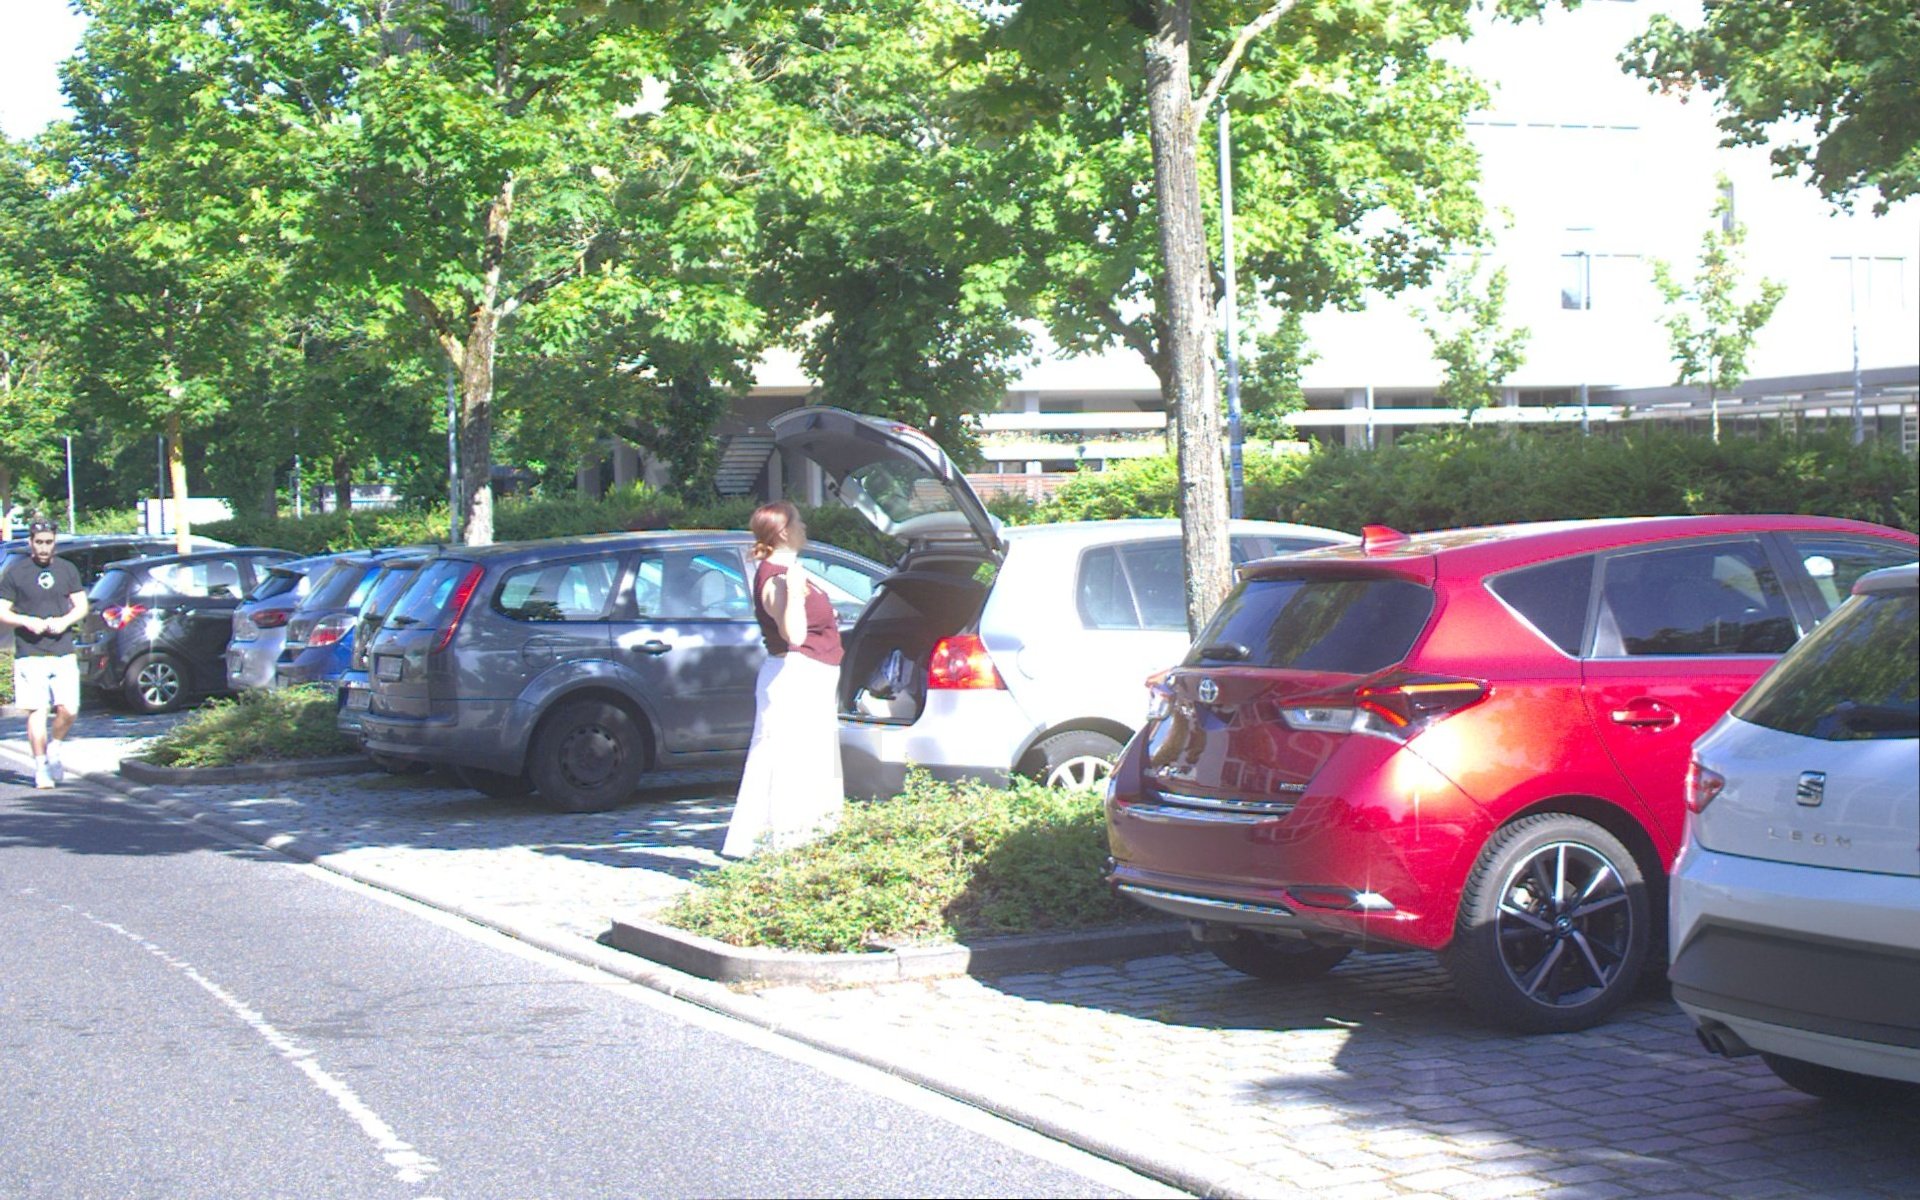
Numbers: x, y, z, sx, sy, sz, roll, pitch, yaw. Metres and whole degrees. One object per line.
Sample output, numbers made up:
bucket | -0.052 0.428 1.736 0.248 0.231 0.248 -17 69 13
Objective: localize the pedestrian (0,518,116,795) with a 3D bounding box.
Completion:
pedestrian | -6.171 0.364 23.029 0.719 1.765 1.169 -4 2 -23

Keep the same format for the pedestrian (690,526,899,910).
pedestrian | -0.692 0.487 14.602 0.764 1.573 0.674 -1 2 6

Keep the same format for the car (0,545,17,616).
car | -22.713 -0.350 74.809 3.986 1.533 1.862 -2 1 -22

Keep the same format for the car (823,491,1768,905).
car | 1.523 0.350 15.525 3.898 1.572 1.680 -2 3 -24

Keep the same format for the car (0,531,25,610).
car | -20.131 -0.512 66.128 3.861 1.499 1.652 -2 2 -24

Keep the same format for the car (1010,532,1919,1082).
car | 2.304 0.530 10.935 3.898 1.421 1.673 -2 1 -24

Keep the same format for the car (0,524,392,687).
car | -8.860 0.031 39.044 4.320 1.602 1.912 -3 2 -26

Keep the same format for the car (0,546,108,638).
car | -16.364 -0.074 57.051 4.061 1.421 1.742 -3 1 -21

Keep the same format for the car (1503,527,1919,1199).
car | 3.492 0.505 8.316 3.899 1.431 1.809 -4 3 -24

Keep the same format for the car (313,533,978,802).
car | -2.007 0.375 22.054 3.898 1.463 1.622 -2 3 -24

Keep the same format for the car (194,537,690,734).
car | -4.322 0.254 28.600 3.732 1.411 1.843 -3 2 -21

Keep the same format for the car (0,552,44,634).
car | -19.055 -0.089 63.471 3.900 1.481 1.743 -2 2 -23

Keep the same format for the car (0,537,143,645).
car | -14.549 -0.128 52.755 3.605 1.544 1.707 -2 3 -24

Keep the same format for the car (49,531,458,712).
car | -6.737 0.188 32.748 3.452 1.484 1.747 -4 1 -24

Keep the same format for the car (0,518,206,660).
car | -13.353 -0.174 50.406 4.118 1.921 1.979 -2 3 -24

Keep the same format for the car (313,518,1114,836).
car | -1.406 0.375 19.724 4.185 1.514 1.737 -3 2 -24

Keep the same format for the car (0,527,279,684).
car | -10.327 0.048 41.135 3.898 1.689 1.941 -2 3 -24

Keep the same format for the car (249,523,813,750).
car | -3.288 0.235 26.251 3.894 1.492 1.843 -3 2 -21
